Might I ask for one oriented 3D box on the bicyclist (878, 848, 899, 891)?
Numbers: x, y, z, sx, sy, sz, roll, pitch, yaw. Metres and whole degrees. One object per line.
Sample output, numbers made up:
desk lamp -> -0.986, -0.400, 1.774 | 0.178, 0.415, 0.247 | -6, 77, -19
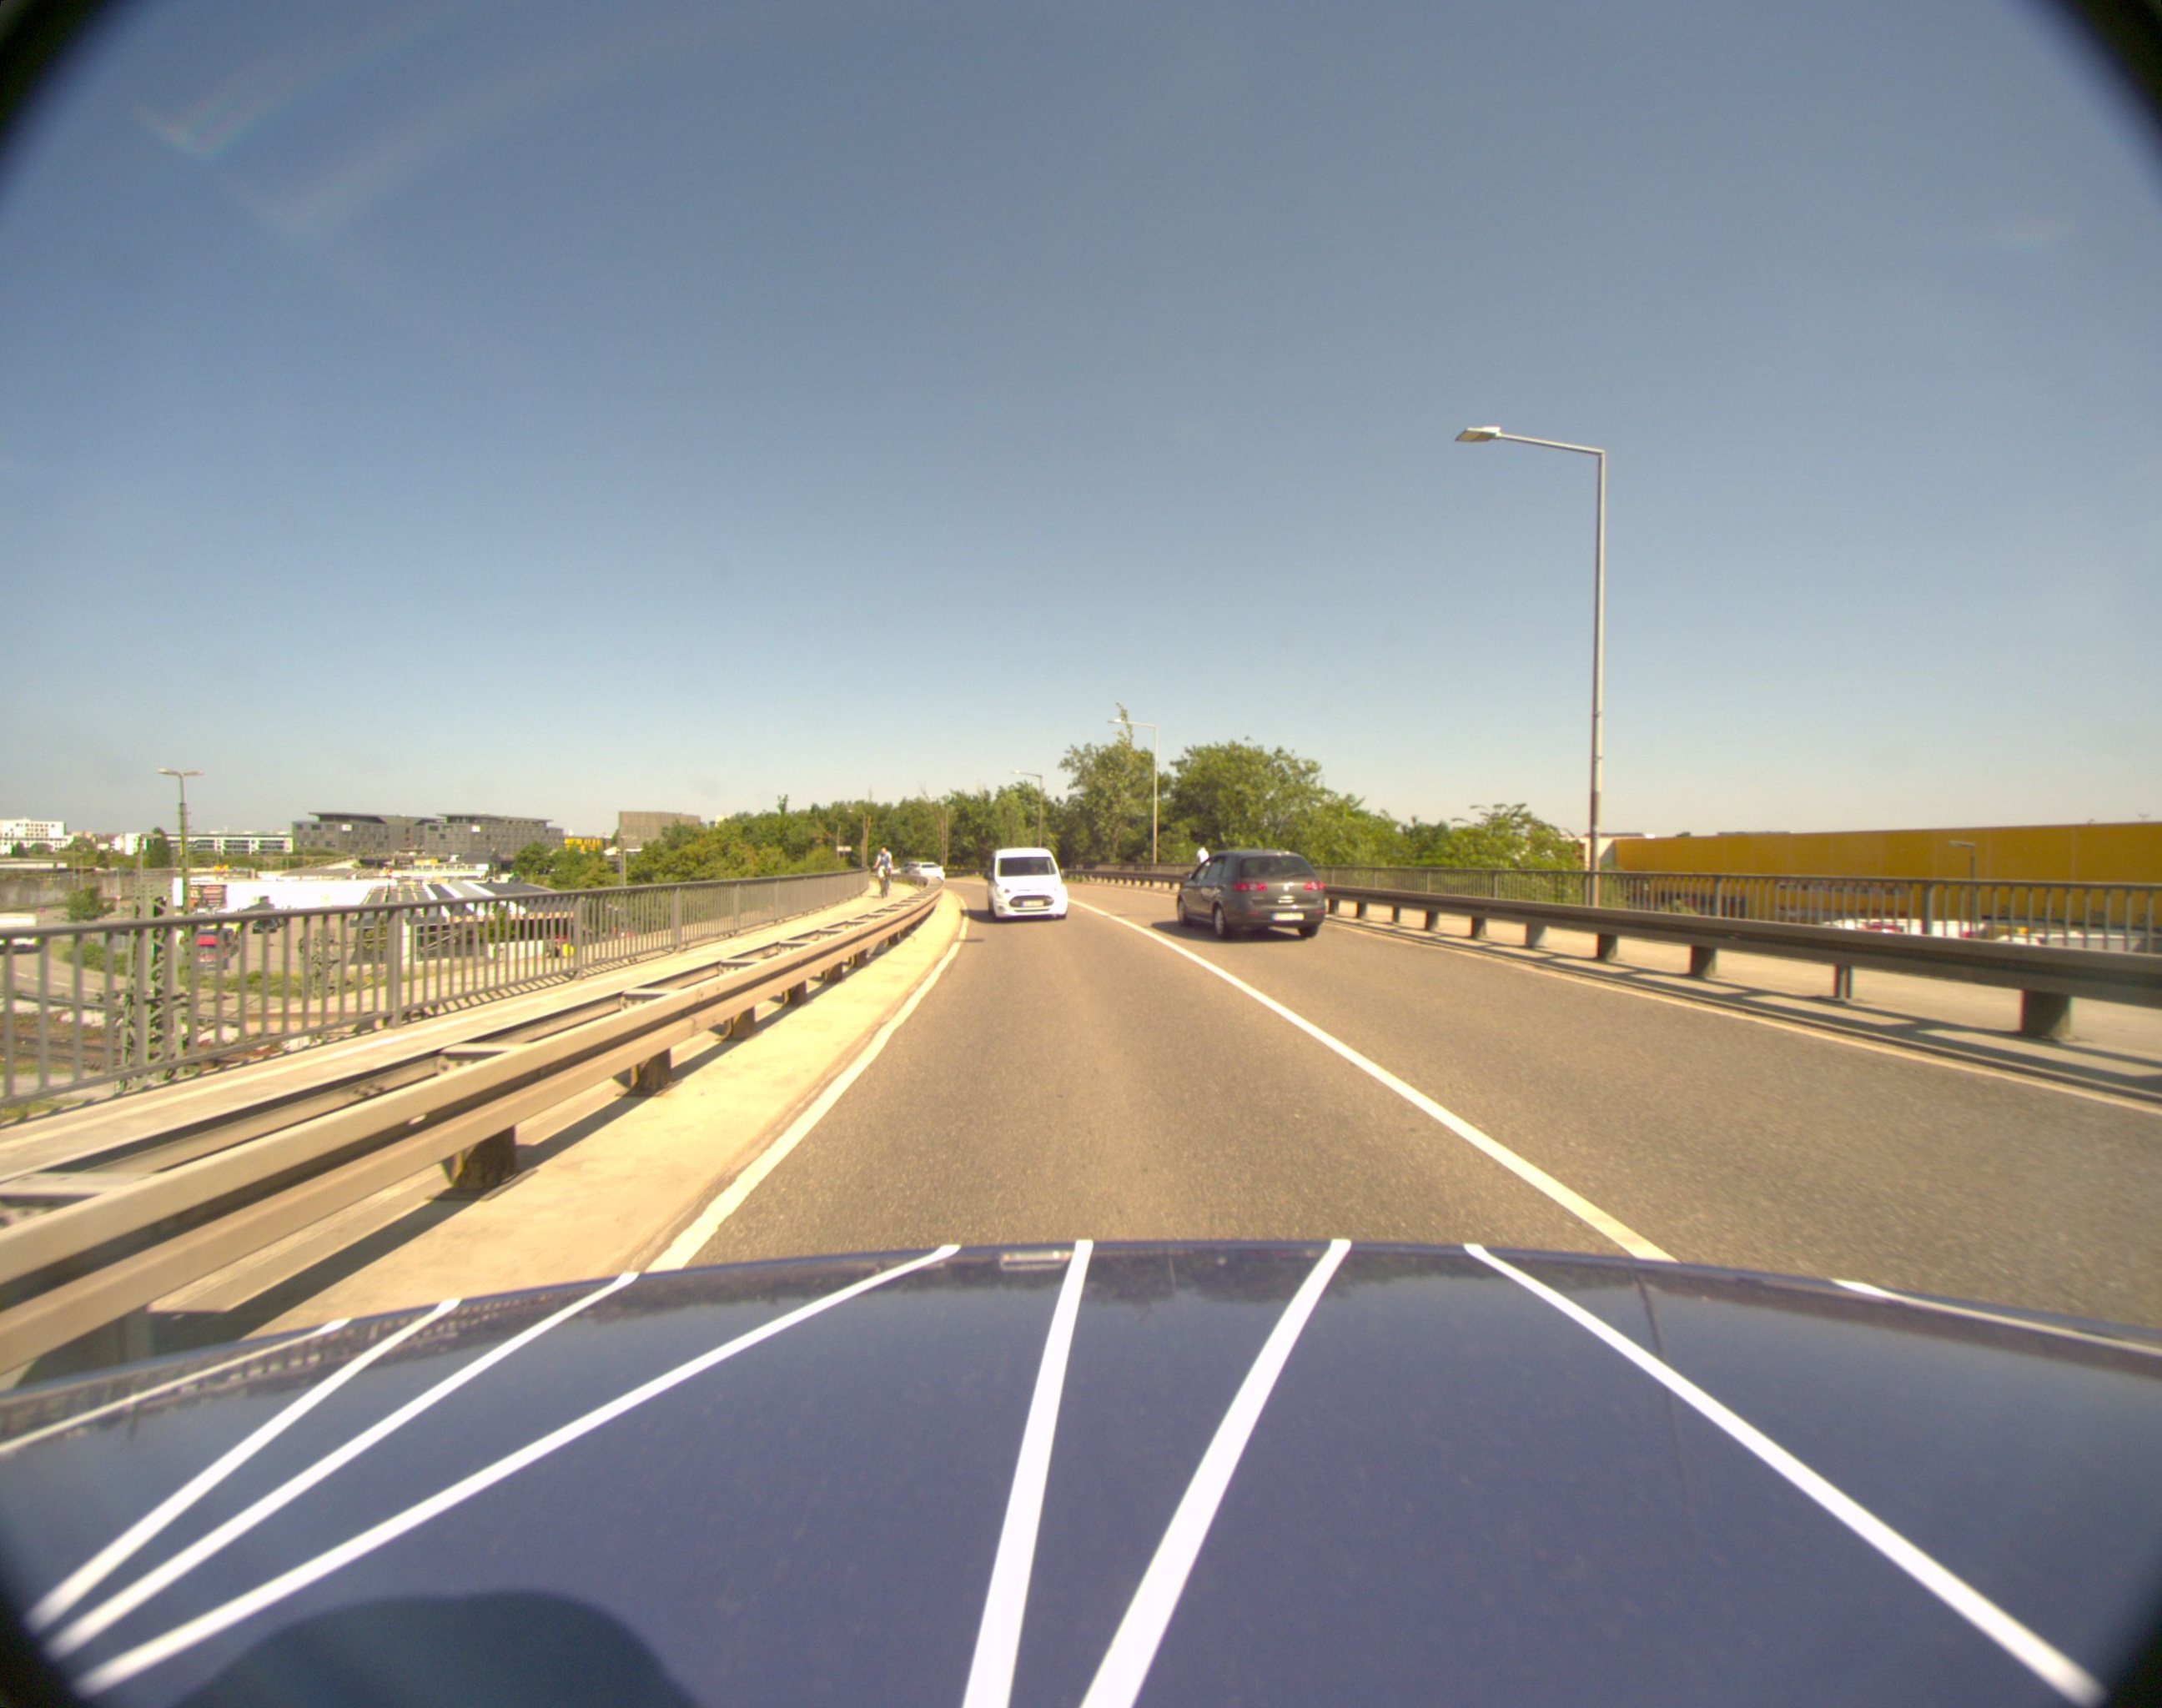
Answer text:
bicyclist -> -6.926, 0.560, 27.358 | 0.661, 1.511, 0.801 | 2, 1, -16

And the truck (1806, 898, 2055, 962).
truck -> 85.118, 7.536, 76.663 | 17.529, 5.644, 5.977 | -1, 1, 4

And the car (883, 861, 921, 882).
car -> -16.012, 1.577, 67.822 | 2.002, 1.576, 3.991 | -8, 2, -31

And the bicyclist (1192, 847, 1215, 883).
bicyclist -> 5.090, 0.447, 31.612 | 0.610, 1.430, 1.077 | 1, 1, -8

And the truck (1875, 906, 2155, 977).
truck -> 85.020, 7.933, 69.681 | 17.529, 5.644, 5.790 | -1, 1, 4

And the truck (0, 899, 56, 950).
truck -> -100.010, 6.504, 71.424 | 13.233, 4.005, 3.832 | 0, -2, 35

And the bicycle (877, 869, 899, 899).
bicycle -> -6.994, 1.060, 27.529 | 0.705, 1.013, 1.843 | 2, -1, -15

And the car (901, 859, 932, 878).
car -> -16.541, 1.431, 76.184 | 1.866, 1.673, 4.463 | -3, 1, -27

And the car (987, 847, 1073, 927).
car -> -1.453, 0.758, 19.818 | 1.898, 1.785, 4.444 | -2, 0, -8

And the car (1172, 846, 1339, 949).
car -> 3.047, 0.716, 14.255 | 1.737, 1.615, 4.301 | 1, 0, -6

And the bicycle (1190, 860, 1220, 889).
bicycle -> 5.111, 0.823, 31.410 | 0.614, 1.128, 2.148 | 2, 0, -8

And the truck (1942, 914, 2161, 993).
truck -> 84.384, 8.169, 63.357 | 17.529, 5.644, 5.977 | -1, 1, 4

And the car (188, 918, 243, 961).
car -> -70.754, 6.959, 62.208 | 2.311, 2.650, 5.362 | -8, 7, -44

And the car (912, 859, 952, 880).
car -> -11.453, 1.170, 58.201 | 1.850, 1.479, 4.143 | -2, 0, -27

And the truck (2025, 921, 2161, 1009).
truck -> 83.915, 8.146, 57.099 | 17.529, 5.644, 5.977 | -1, 1, 4
